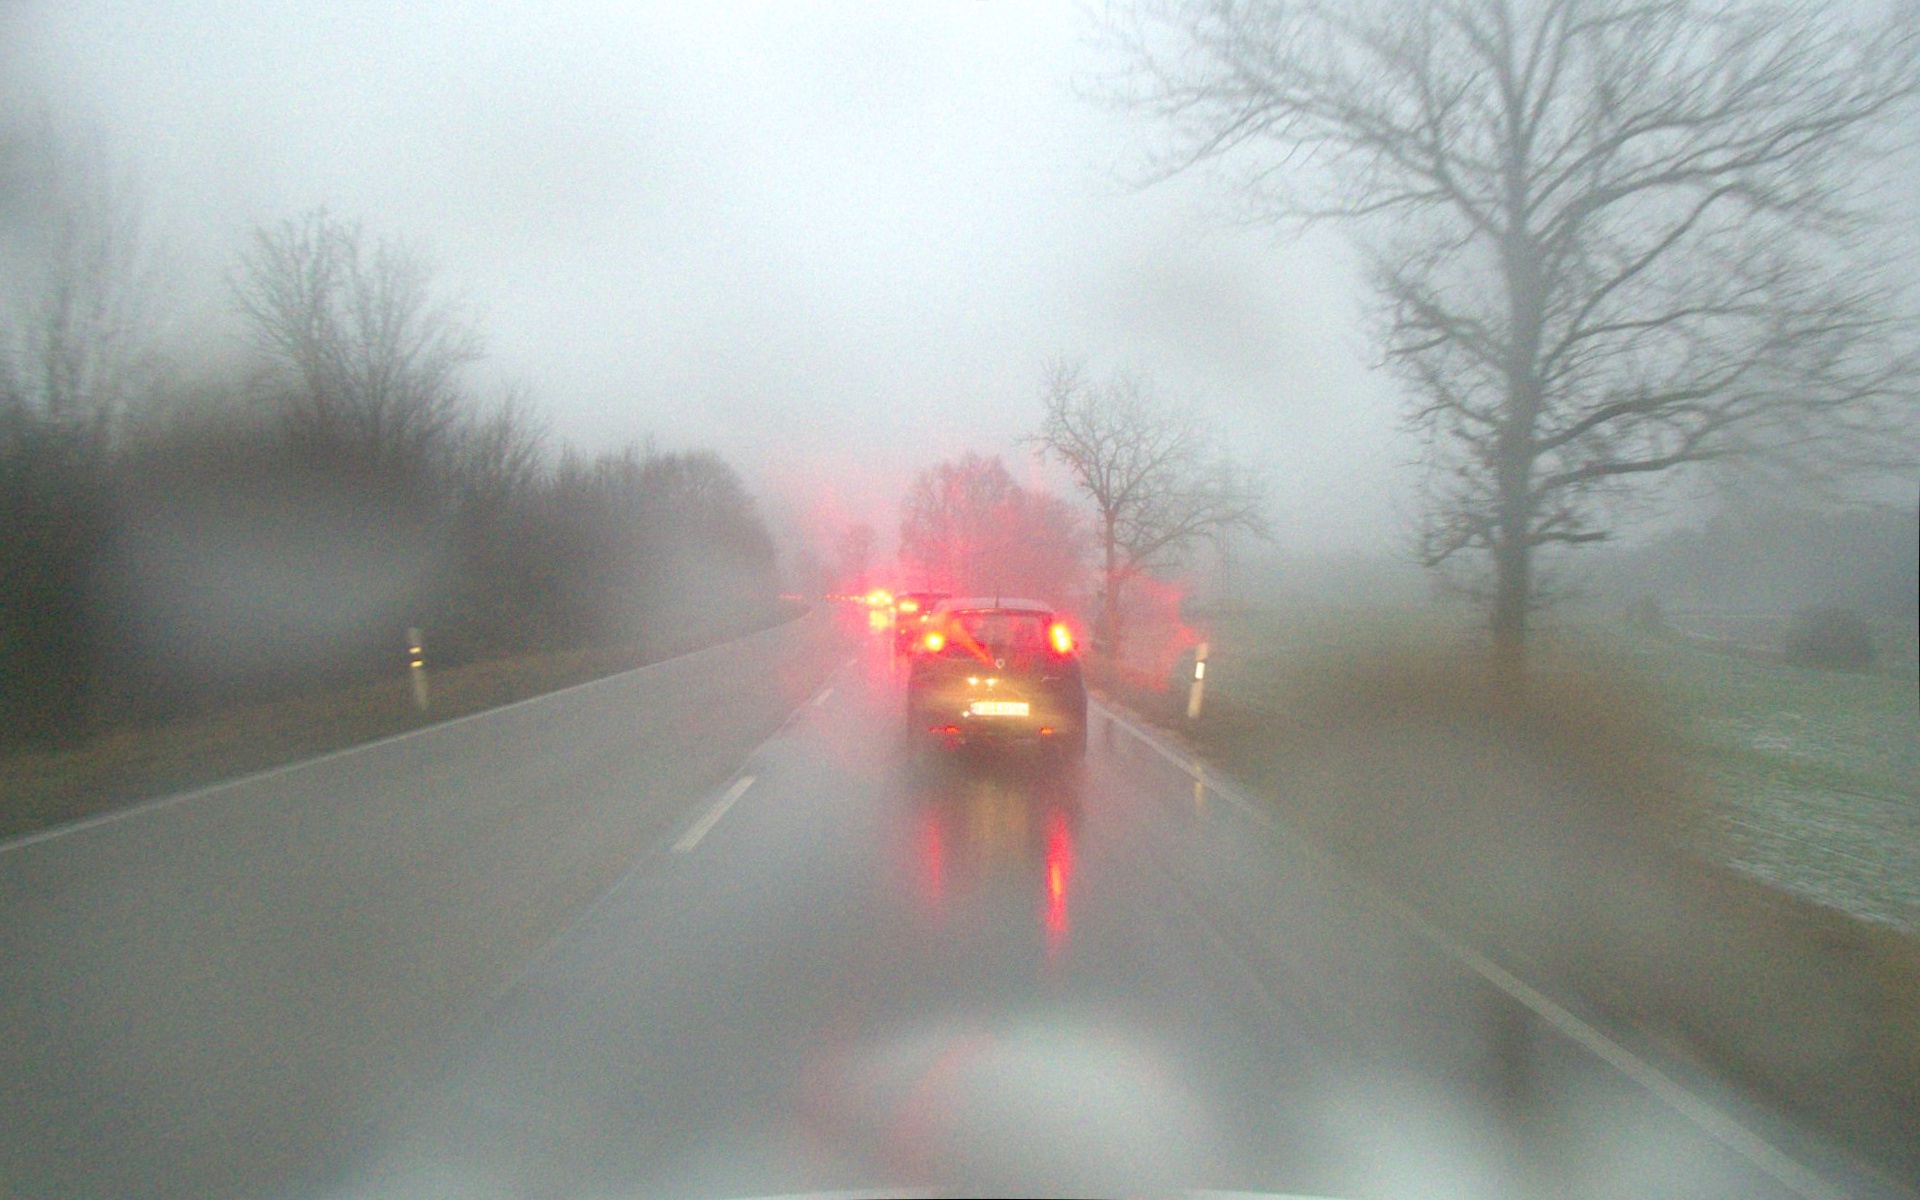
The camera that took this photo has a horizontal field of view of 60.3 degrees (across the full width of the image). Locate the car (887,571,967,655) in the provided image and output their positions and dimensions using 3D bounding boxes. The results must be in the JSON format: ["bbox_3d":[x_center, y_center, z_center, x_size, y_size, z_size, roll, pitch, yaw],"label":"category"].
[{"bbox_3d":[-0.793,0.311,42.528,1.814,2.049,4.001,1,0,2],"label":"car"}]

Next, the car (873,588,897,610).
[{"bbox_3d":[-6.233,-0.085,137.625,1.825,1.729,4.468,1,1,0],"label":"car"}]

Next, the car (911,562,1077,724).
[{"bbox_3d":[0.359,0.376,16.401,1.469,1.423,3.200,1,0,2],"label":"car"}]
